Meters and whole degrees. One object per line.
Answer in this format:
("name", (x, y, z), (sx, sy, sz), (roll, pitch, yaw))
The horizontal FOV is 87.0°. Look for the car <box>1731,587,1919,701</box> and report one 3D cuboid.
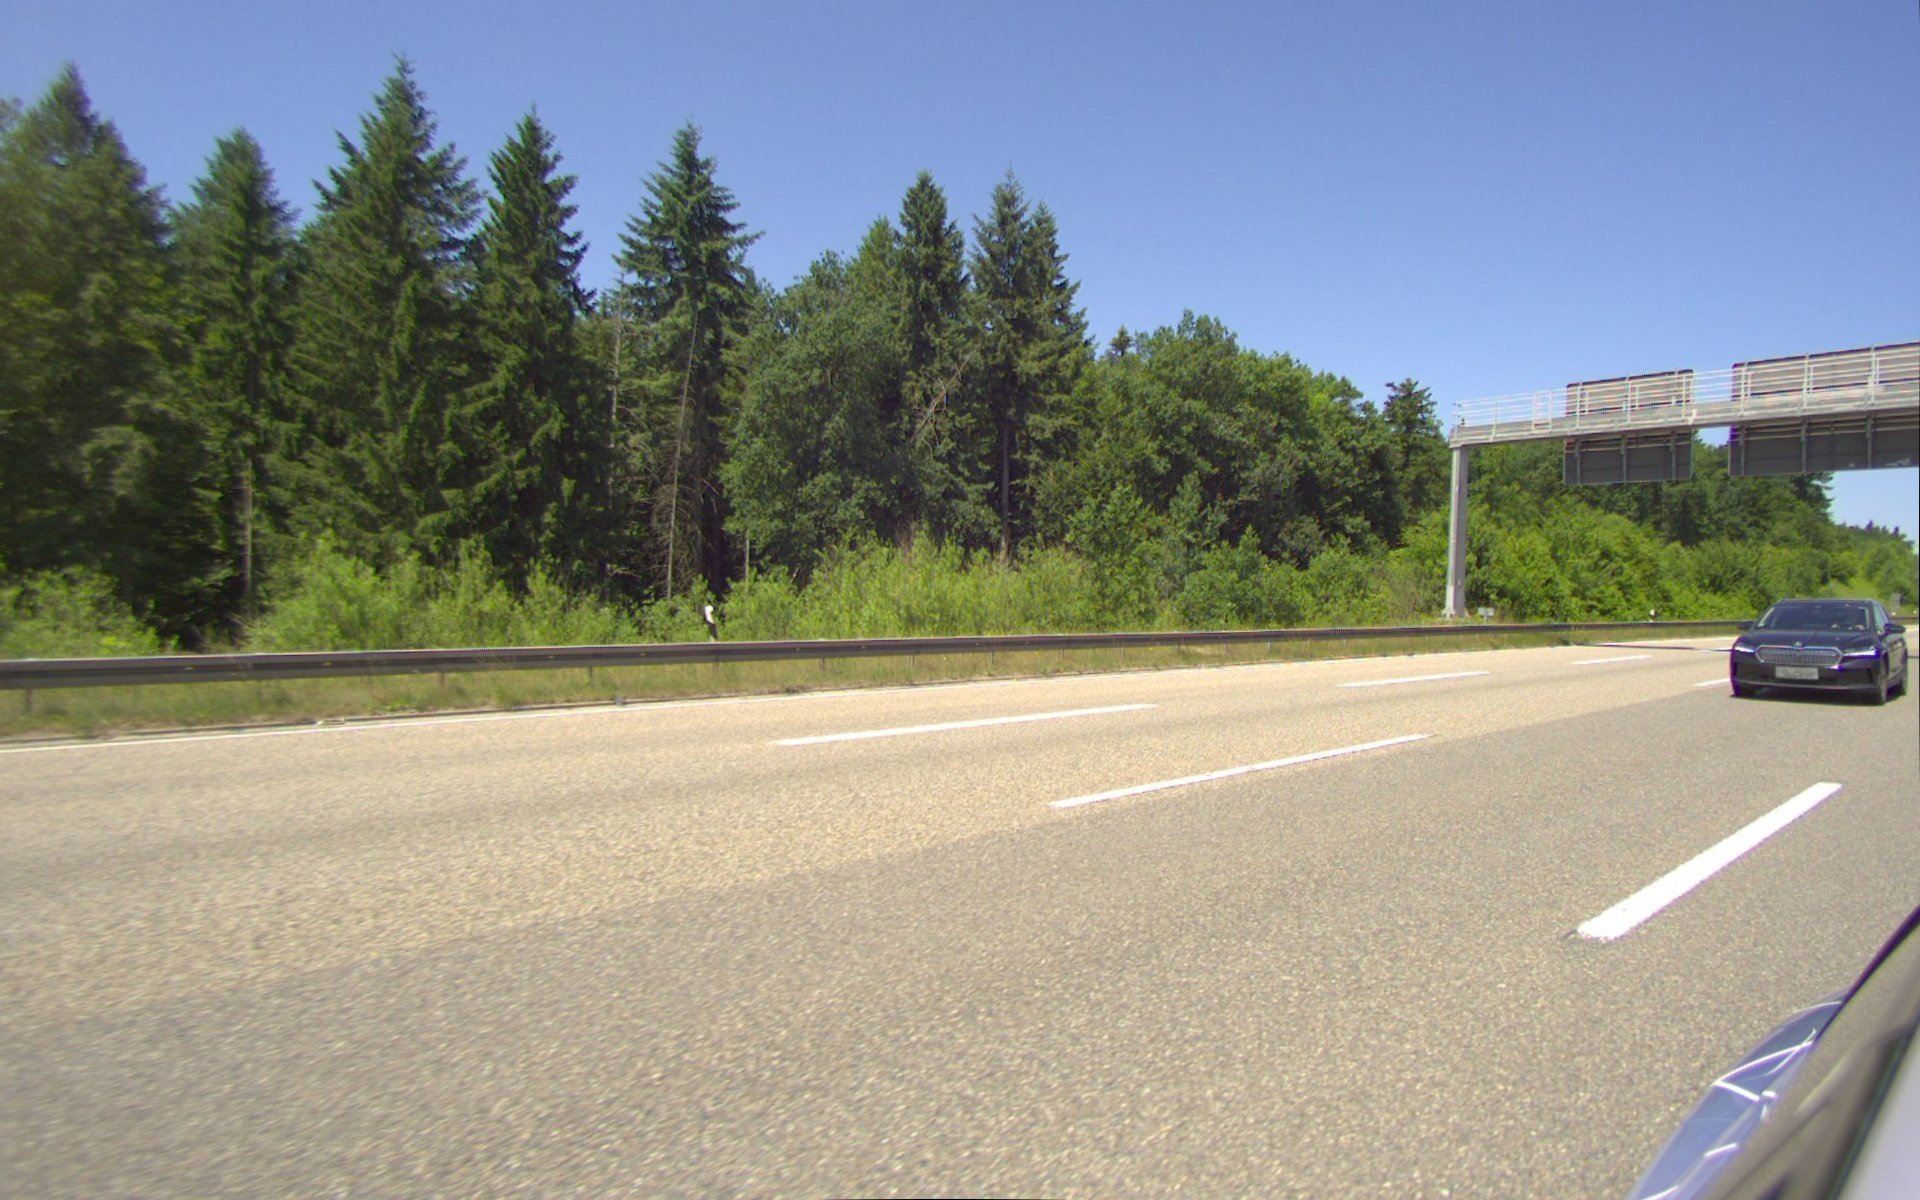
("car", (14.498, 0.616, 16.653), (4.378, 1.639, 1.988), (0, 0, -40))
